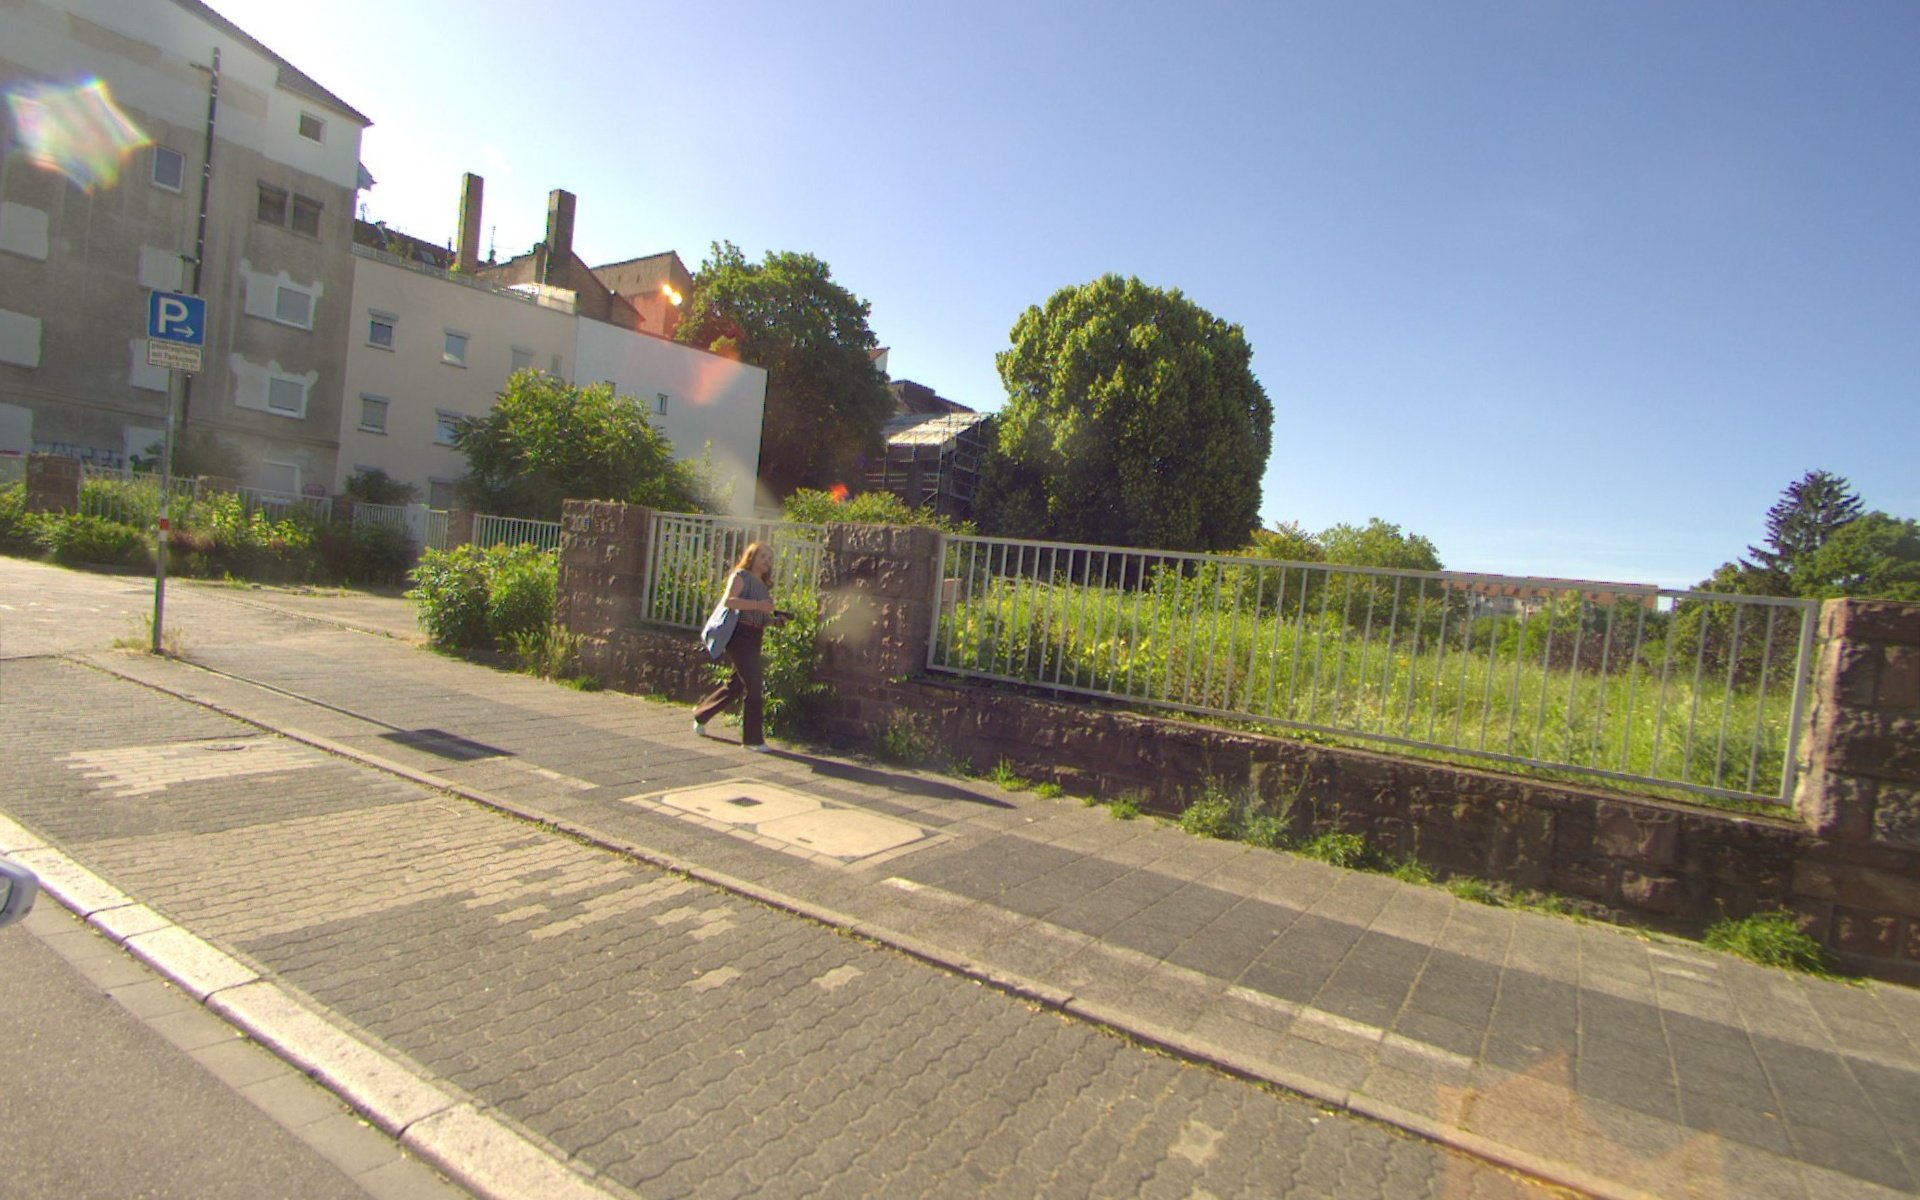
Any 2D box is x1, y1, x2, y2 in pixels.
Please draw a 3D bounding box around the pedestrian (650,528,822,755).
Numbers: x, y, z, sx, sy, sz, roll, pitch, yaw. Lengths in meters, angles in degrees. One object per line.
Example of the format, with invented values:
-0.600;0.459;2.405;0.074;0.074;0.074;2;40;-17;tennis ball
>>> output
-1.745;0.315;7.875;0.882;1.603;0.744;7;1;32;pedestrian
